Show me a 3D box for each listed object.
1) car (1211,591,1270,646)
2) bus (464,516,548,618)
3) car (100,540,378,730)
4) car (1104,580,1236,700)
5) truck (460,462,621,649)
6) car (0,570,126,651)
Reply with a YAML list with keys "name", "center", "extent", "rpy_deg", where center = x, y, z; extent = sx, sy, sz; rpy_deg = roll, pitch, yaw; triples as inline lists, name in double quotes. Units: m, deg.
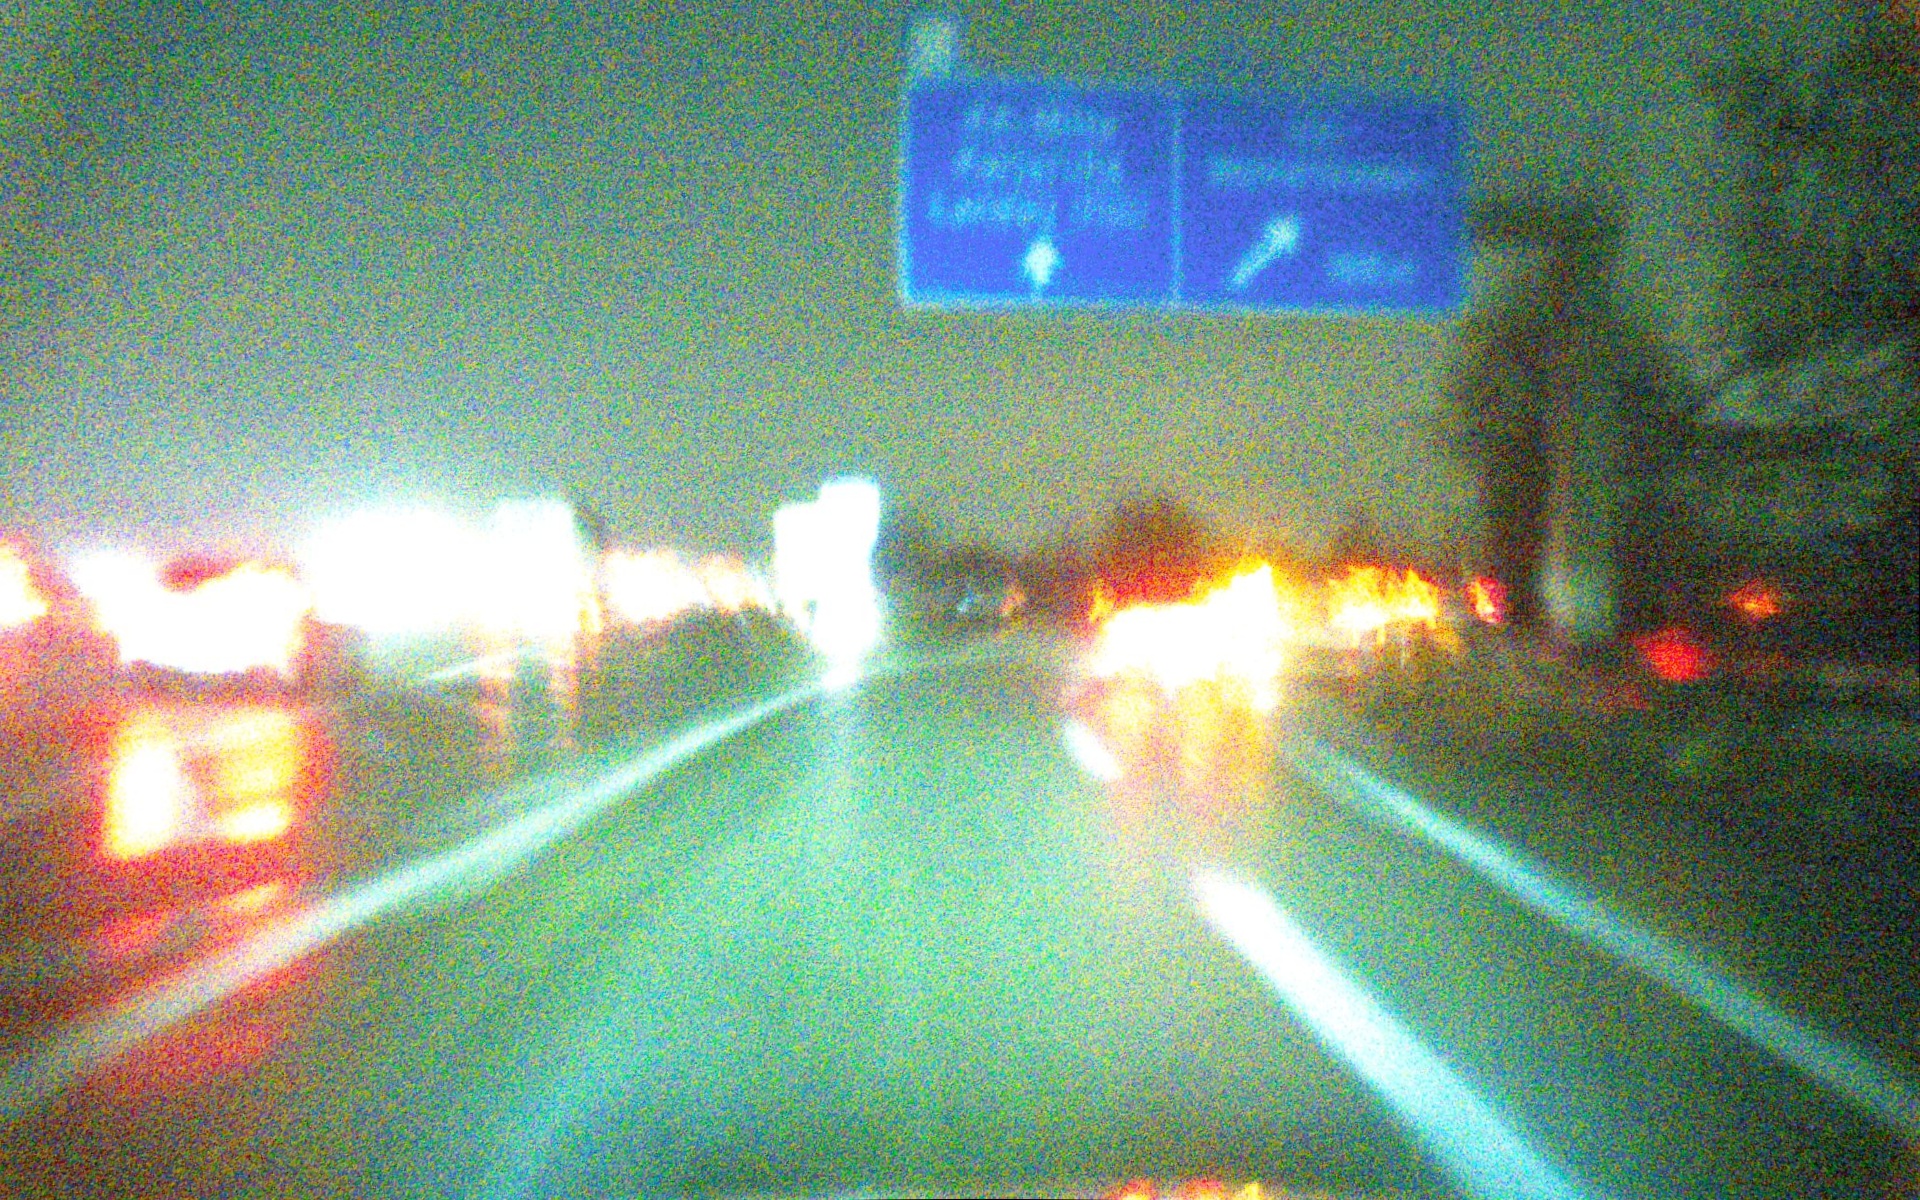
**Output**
- name: "car"
  center: [10.124, 0.649, 59.483]
  extent: [1.951, 1.839, 4.003]
  rpy_deg: [2, 0, 11]
- name: "bus"
  center: [-22.256, -1.544, 81.616]
  extent: [3.042, 4.586, 10.883]
  rpy_deg: [2, 0, -11]
- name: "car"
  center: [-8.800, 0.390, 20.677]
  extent: [2.087, 2.049, 4.634]
  rpy_deg: [2, 0, -10]
- name: "car"
  center: [3.540, 0.640, 28.469]
  extent: [1.952, 1.839, 4.002]
  rpy_deg: [2, 0, 4]
- name: "truck"
  center: [-14.431, -1.415, 58.057]
  extent: [4.132, 5.747, 11.445]
  rpy_deg: [2, 0, -9]
- name: "car"
  center: [-18.854, 0.158, 33.362]
  extent: [1.956, 1.502, 5.157]
  rpy_deg: [2, 0, -7]
